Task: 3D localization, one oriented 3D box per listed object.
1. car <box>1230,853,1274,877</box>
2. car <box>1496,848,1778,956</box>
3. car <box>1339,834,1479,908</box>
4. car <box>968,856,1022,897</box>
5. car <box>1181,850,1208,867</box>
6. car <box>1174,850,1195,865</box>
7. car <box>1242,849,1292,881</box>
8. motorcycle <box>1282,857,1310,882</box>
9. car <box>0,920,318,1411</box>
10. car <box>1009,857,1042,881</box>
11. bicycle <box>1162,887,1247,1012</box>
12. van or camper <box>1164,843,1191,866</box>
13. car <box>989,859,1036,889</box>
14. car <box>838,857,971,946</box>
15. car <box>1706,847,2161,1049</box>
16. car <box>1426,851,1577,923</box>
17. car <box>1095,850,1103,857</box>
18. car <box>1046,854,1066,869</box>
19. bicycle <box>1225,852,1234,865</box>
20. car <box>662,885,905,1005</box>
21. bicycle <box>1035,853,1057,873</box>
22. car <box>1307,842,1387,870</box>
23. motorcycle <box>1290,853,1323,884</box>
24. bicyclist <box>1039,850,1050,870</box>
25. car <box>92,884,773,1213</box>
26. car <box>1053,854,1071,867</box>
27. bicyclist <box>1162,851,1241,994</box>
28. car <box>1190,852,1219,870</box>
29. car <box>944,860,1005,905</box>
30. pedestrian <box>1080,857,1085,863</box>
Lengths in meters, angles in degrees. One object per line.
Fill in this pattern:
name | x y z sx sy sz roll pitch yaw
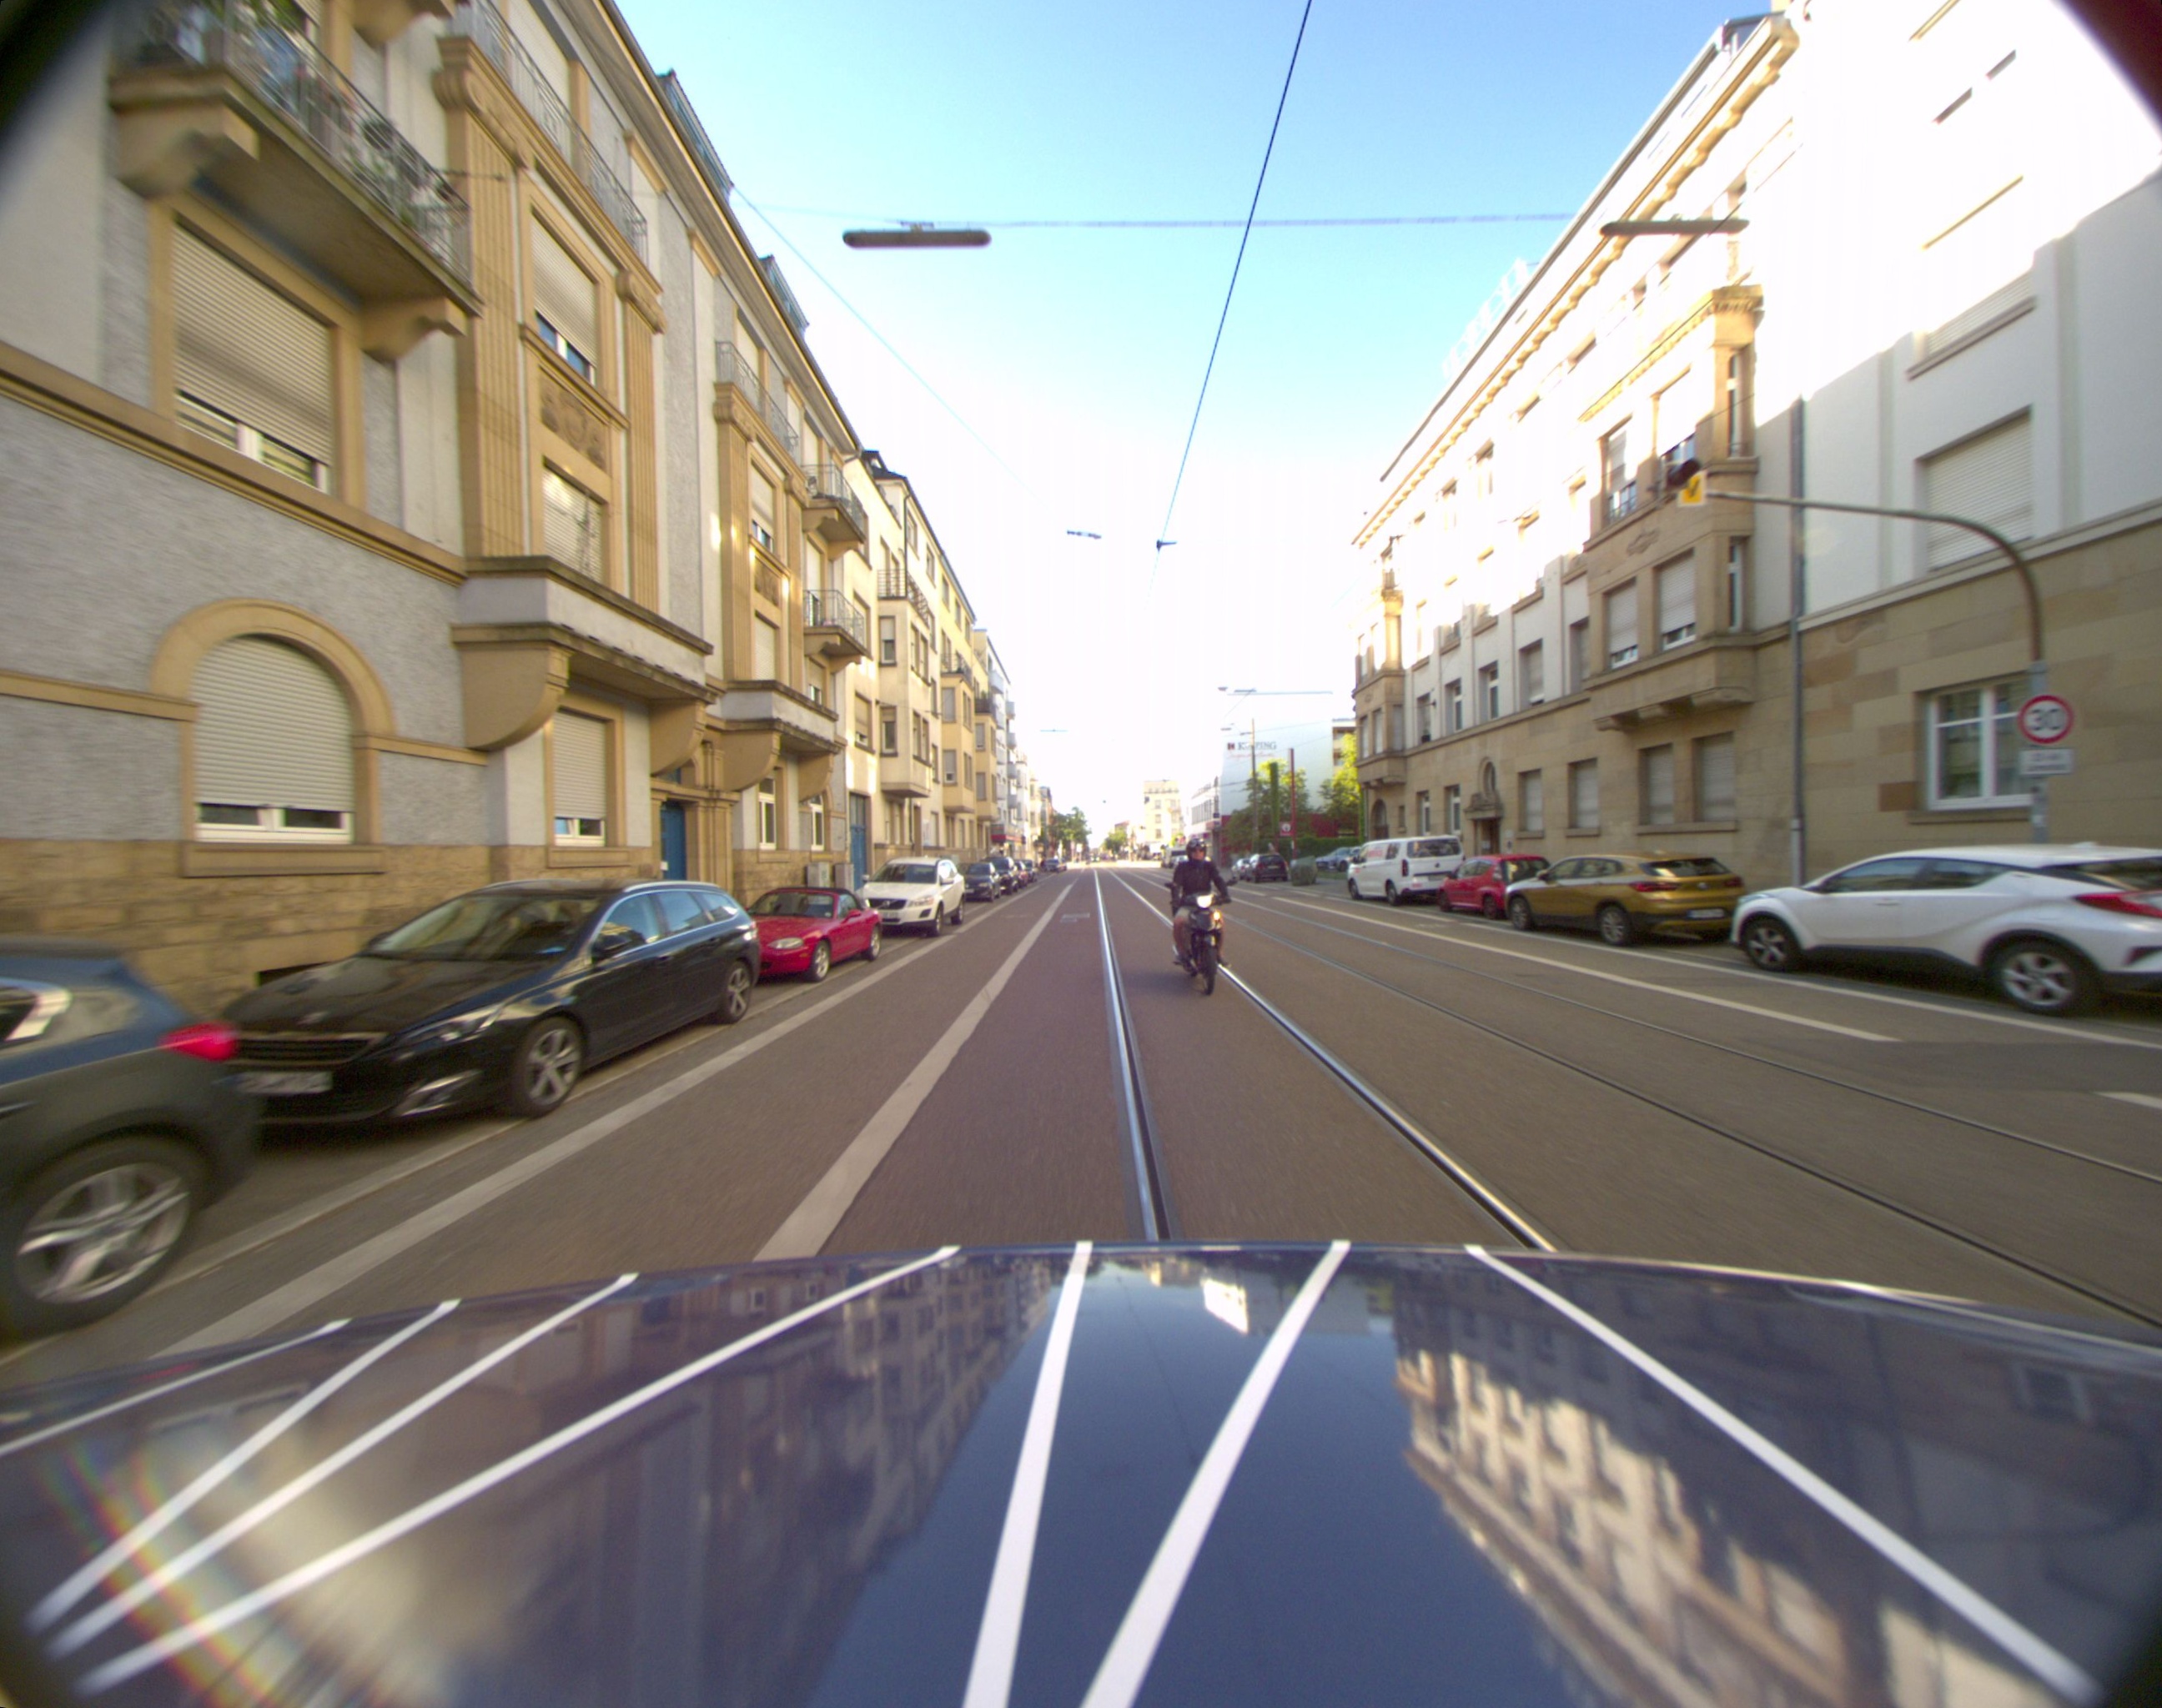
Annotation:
car | 10.544 0.648 47.058 1.787 1.306 4.221 -3 0 1
car | 9.486 0.700 13.519 1.788 1.515 4.359 -3 0 0
car | 9.883 0.453 23.429 1.978 1.937 5.251 -3 0 0
car | -3.818 0.939 34.388 1.864 1.656 4.561 -1 0 0
car | 10.702 0.420 71.831 1.787 1.472 4.699 -3 0 1
car | 11.010 0.364 80.865 1.787 1.390 4.445 -3 0 2
car | 10.179 0.571 41.923 1.787 1.556 4.611 -3 0 3
motorcycle | 10.515 0.745 37.145 0.740 1.164 2.184 -1 1 31
car | -4.388 1.088 1.240 1.658 1.504 4.474 -1 0 1
car | -3.556 0.933 49.293 1.722 1.482 4.002 0 1 1
bicycle | 1.372 1.028 8.751 0.767 1.191 1.752 -1 1 3
van or camper | 11.116 0.008 87.929 2.177 2.453 6.231 -3 0 0
car | -3.623 1.024 40.723 1.863 1.447 4.710 -1 0 2
car | -3.834 0.965 17.366 1.847 1.681 4.505 -1 0 1
car | 9.531 0.744 8.263 1.776 1.538 4.365 -3 0 -1
car | 9.942 0.716 18.280 1.606 1.464 3.646 -3 0 1
car | 4.420 -0.203 184.533 1.970 1.577 4.000 -2 0 1
car | -2.557 0.754 77.855 1.714 1.399 4.358 1 1 2
bicycle | 13.632 0.432 69.670 0.440 1.168 2.050 -2 1 2
car | -4.187 1.212 11.587 1.658 1.242 4.505 -1 0 4
bicycle | -3.155 0.811 68.484 1.935 1.701 0.775 -2 1 1
car | 16.174 0.110 46.146 4.804 1.509 1.995 -2 1 -32
motorcycle | 10.458 0.676 35.198 0.884 1.343 1.961 -1 1 34
bicyclist | -3.286 0.533 68.489 0.845 1.692 0.510 -2 1 1
car | -4.277 1.104 6.192 1.658 1.474 4.473 -1 0 0
car | -2.181 0.736 88.374 1.861 1.499 4.096 1 1 2
bicyclist | 1.357 0.747 8.711 0.774 1.531 0.939 -1 1 3
car | 10.655 0.581 66.048 1.787 1.437 4.841 -3 0 1
car | -3.880 1.002 28.370 1.741 1.433 4.032 -1 0 -1
pedestrian | 0.261 1.172 144.895 0.774 1.197 0.610 -1 1 -7
